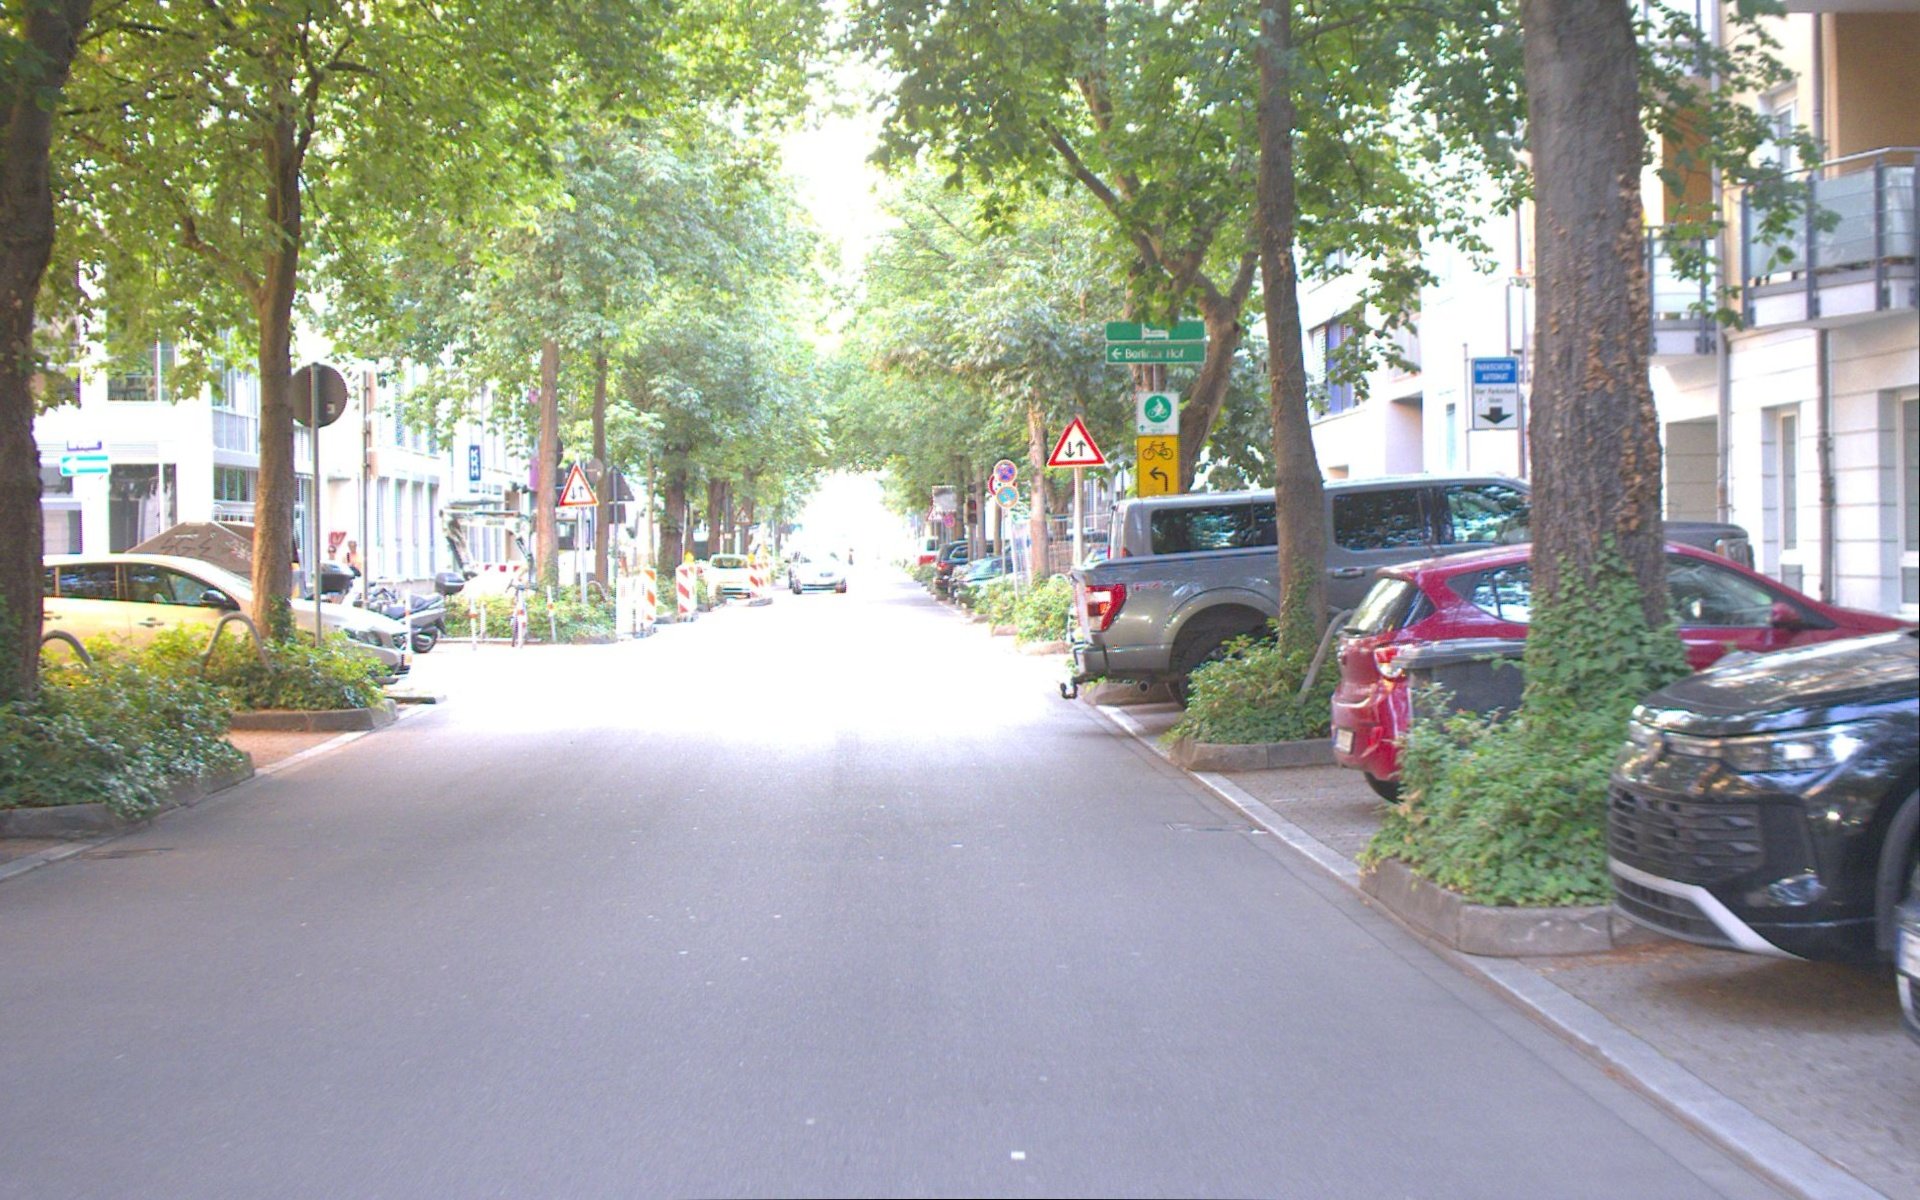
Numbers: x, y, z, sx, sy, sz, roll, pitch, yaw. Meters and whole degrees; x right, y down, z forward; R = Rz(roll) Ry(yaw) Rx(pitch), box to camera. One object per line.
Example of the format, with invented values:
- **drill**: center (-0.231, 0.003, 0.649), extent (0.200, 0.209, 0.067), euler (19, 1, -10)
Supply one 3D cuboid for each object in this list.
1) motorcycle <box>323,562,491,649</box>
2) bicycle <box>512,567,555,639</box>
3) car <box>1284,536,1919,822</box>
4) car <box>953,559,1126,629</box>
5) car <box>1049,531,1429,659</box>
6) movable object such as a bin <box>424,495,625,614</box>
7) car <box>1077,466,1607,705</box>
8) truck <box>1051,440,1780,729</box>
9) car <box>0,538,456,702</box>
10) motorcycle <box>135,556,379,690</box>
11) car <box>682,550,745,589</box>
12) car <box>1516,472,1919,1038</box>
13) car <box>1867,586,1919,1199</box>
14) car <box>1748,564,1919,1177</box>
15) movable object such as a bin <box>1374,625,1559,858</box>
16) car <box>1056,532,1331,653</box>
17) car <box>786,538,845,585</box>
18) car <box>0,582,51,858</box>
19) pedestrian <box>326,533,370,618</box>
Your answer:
- **motorcycle**: center (-8.616, 0.073, 53.627), extent (2.350, 1.277, 1.067), euler (-2, 2, -41)
- **bicycle**: center (-7.096, 0.038, 57.272), extent (0.683, 1.148, 1.981), euler (-1, 1, -7)
- **car**: center (3.872, 0.411, 19.710), extent (3.776, 1.539, 1.878), euler (0, 1, -3)
- **car**: center (1.852, -0.154, 80.717), extent (3.987, 1.579, 2.000), euler (-1, 1, 1)
- **car**: center (3.496, -0.079, 43.743), extent (4.621, 1.566, 2.011), euler (0, 1, -2)
- **movable object such as a bin**: center (-9.077, -0.967, 71.758), extent (4.045, 2.375, 2.785), euler (-1, 1, -7)
- **car**: center (3.486, -0.153, 32.062), extent (4.600, 2.059, 2.198), euler (-1, 1, -2)
- **truck**: center (3.770, -0.147, 29.323), extent (5.887, 2.303, 2.212), euler (-1, 1, -1)
- **car**: center (-7.457, 0.179, 33.932), extent (4.619, 1.547, 2.075), euler (0, 1, 1)
- **motorcycle**: center (-7.655, 0.241, 37.524), extent (2.453, 1.415, 0.911), euler (-1, 1, 1)
- **car**: center (-8.368, -1.043, 116.558), extent (1.993, 1.284, 4.001), euler (-1, 1, -6)
- **car**: center (4.404, 0.301, 11.294), extent (4.641, 1.612, 2.010), euler (-4, 1, -5)
- **car**: center (4.187, 0.577, 6.072), extent (4.599, 1.463, 1.796), euler (-4, 1, -2)
- **car**: center (4.368, 0.508, 8.703), extent (4.224, 1.433, 1.929), euler (-4, 1, 1)
- **movable object such as a bin**: center (2.513, 0.693, 17.132), extent (0.760, 1.080, 0.785), euler (-2, 1, 0)
- **car**: center (3.115, -0.116, 46.397), extent (3.538, 1.558, 1.832), euler (-1, 1, -1)
- **car**: center (-5.106, -1.373, 121.267), extent (2.009, 1.607, 4.120), euler (-1, 1, -3)
- **car**: center (-7.169, 0.653, 18.060), extent (4.287, 1.425, 1.879), euler (-1, 1, -1)
- **pedestrian**: center (-12.133, -0.489, 68.187), extent (0.739, 1.684, 0.607), euler (-1, 1, 0)
